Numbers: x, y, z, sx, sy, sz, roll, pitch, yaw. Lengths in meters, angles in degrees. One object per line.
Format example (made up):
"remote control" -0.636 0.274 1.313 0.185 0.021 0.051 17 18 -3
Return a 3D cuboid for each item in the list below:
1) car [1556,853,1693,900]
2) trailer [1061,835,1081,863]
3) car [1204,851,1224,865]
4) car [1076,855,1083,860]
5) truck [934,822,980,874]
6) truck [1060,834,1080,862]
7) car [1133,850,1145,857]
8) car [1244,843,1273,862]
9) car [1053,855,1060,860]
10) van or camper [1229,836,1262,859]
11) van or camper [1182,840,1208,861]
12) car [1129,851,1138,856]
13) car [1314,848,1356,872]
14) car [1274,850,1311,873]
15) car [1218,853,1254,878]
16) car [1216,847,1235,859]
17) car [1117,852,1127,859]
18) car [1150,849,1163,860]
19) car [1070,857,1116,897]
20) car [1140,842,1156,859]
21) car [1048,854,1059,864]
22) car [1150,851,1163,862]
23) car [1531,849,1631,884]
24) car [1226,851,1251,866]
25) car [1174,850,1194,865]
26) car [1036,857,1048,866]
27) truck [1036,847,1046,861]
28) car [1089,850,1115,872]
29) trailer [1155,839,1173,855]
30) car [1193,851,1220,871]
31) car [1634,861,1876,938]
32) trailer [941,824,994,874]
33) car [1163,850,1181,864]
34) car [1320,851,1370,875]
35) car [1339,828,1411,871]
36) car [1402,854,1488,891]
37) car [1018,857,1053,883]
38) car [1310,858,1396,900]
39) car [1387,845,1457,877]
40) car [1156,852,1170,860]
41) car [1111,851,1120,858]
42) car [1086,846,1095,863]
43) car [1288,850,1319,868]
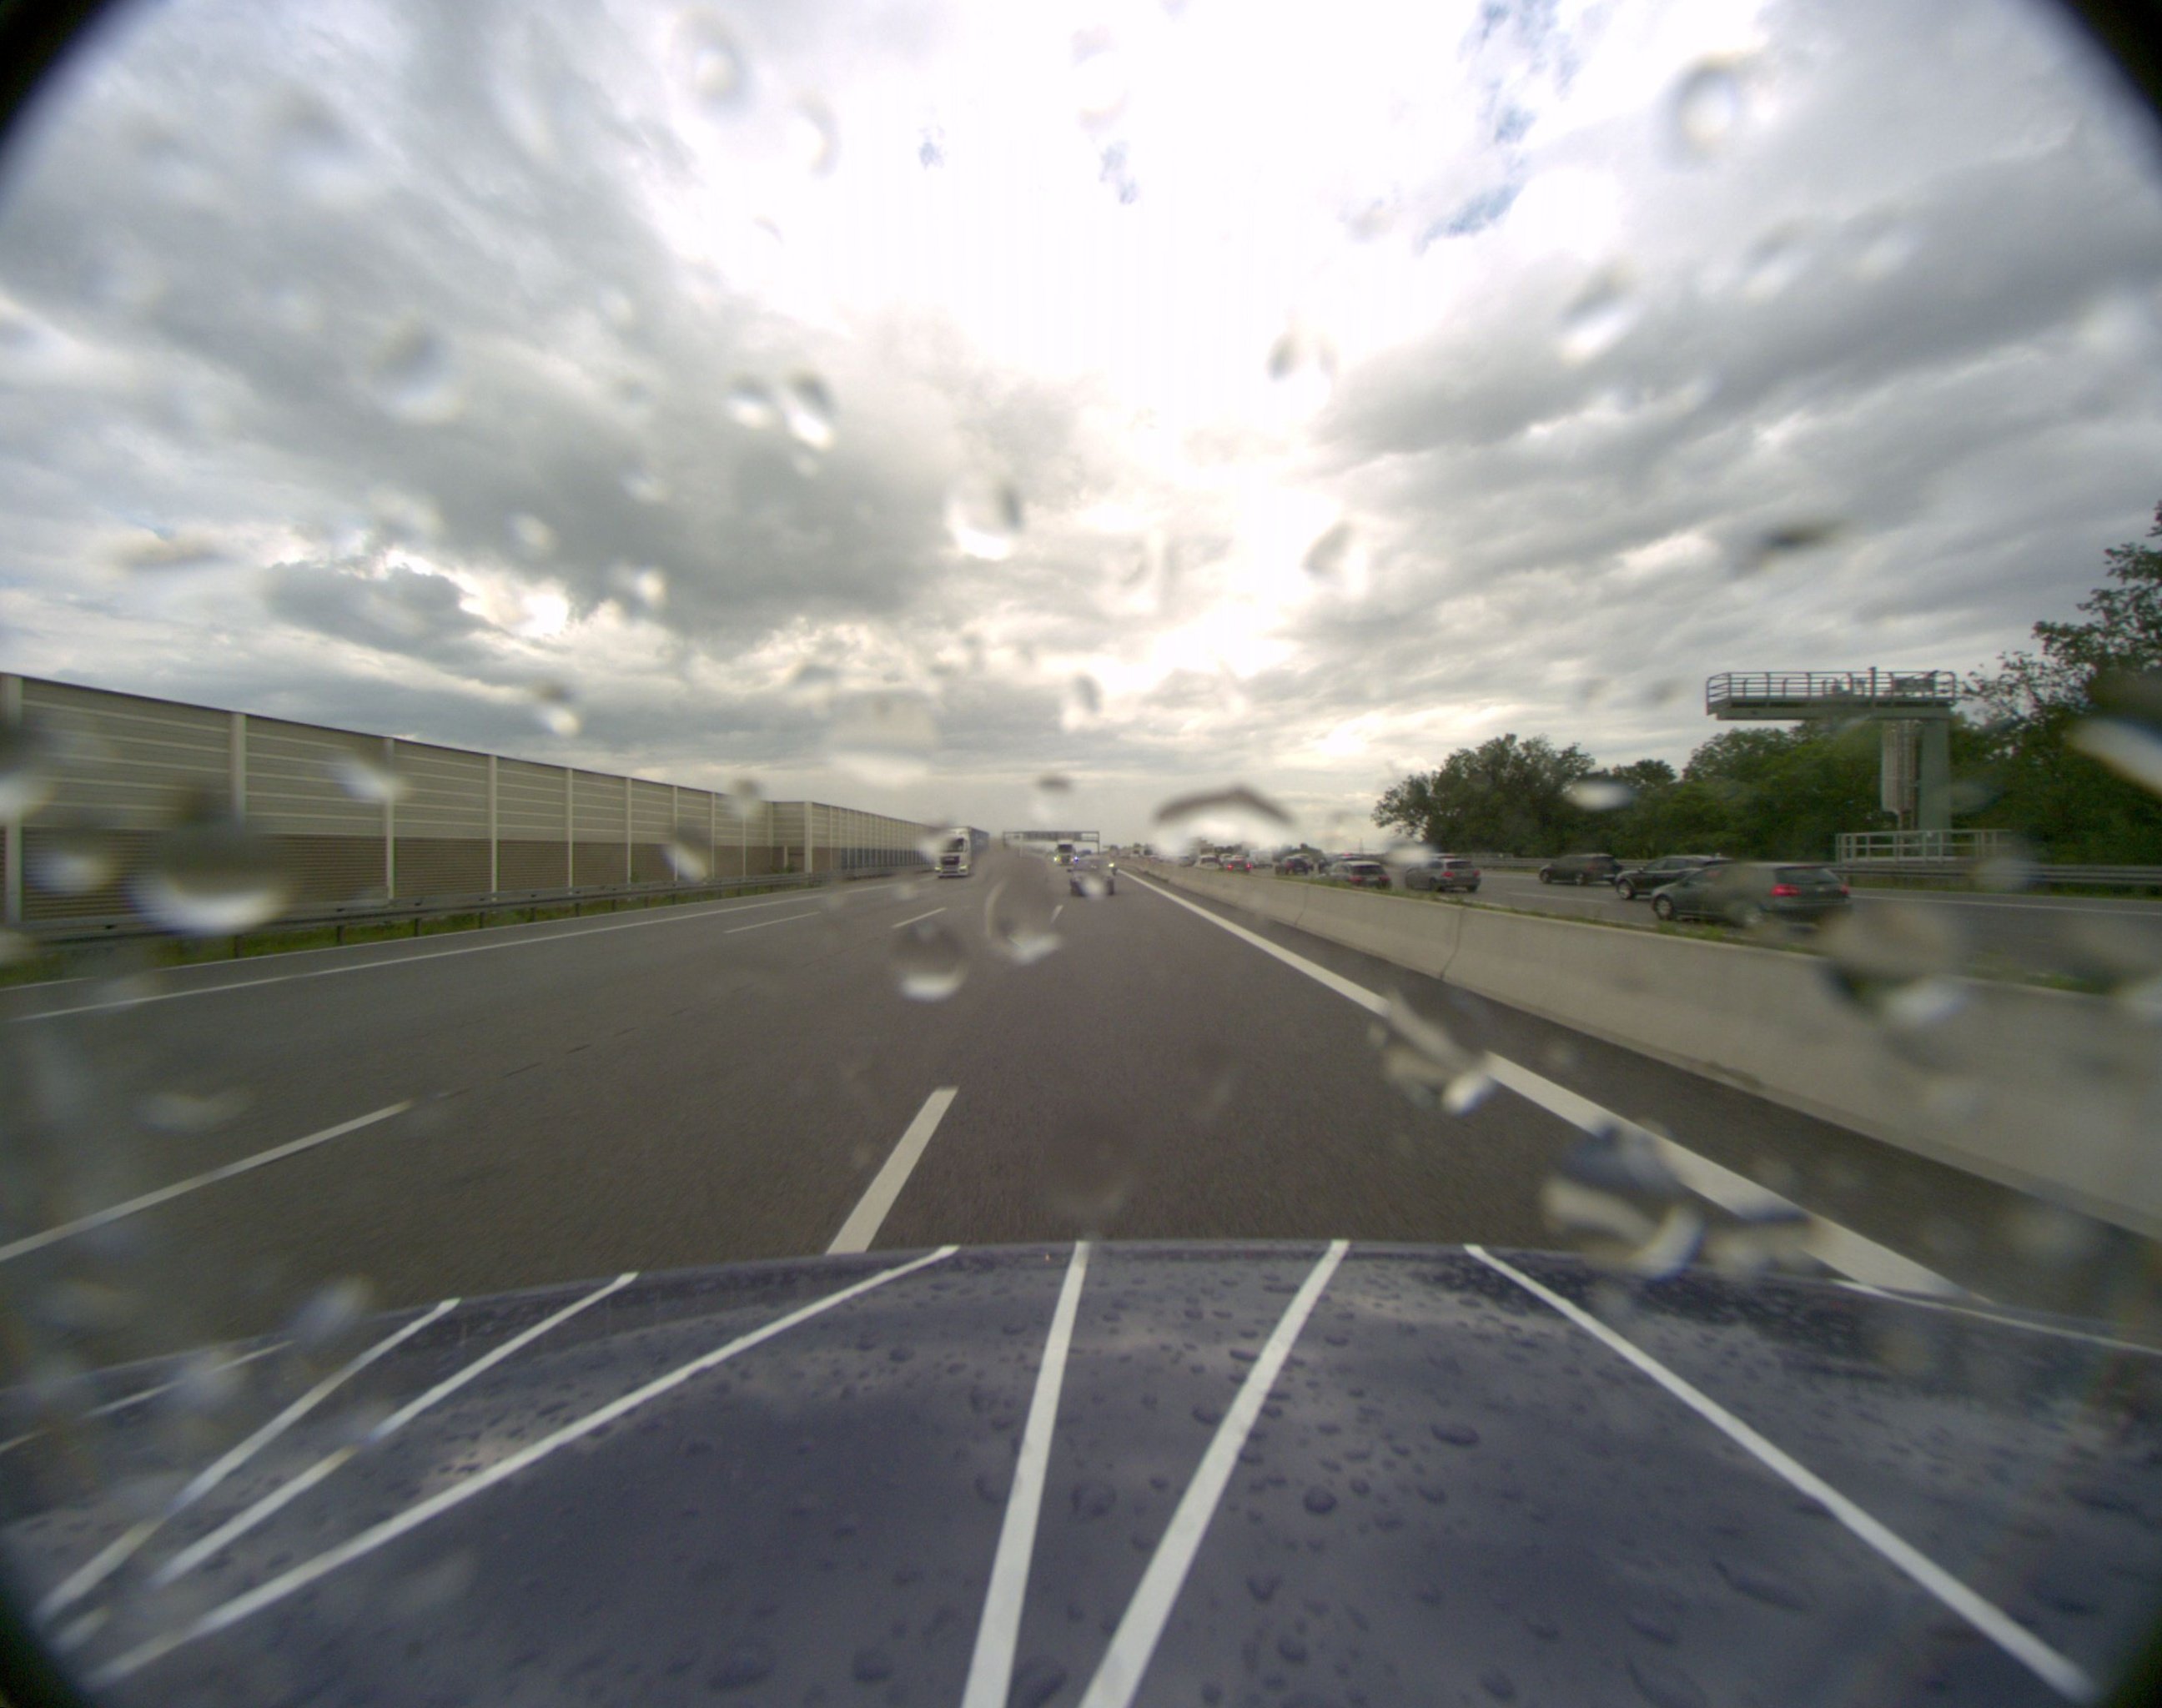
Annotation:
"car" 19.238 0.730 27.189 1.727 1.420 4.519 -3 1 1
"trailer" -1.669 -0.809 123.909 2.926 4.187 13.195 -3 0 -1
"car" 16.471 0.468 94.313 1.727 1.636 4.519 -3 1 1
"car" -0.363 0.911 209.876 1.698 1.395 4.000 -2 0 -1
"truck" -10.009 -0.442 61.986 2.752 4.011 5.725 -2 0 -1
"truck" -1.652 -0.846 118.418 2.913 4.146 5.192 -3 0 0
"car" 12.192 -0.088 159.533 2.065 1.526 5.469 -1 0 -1
"car" 19.453 -0.195 83.435 1.692 1.925 5.547 -3 1 -1
"car" -6.574 1.025 205.683 1.698 1.395 4.000 -2 0 -1
"van or camper" 23.349 -0.954 108.333 2.632 3.104 8.475 -3 1 0
"van or camper" 16.878 -0.532 112.682 2.632 2.934 7.357 -3 1 0
"car" 14.765 -0.161 214.062 2.065 1.526 5.469 -1 0 -1
"car" 19.205 0.410 57.717 1.727 1.636 4.519 -3 1 1
"car" 16.651 0.560 60.048 1.727 1.636 4.519 -3 1 1
"car" 11.353 0.802 55.989 1.727 1.636 4.992 -3 1 1
"car" 19.714 -0.187 103.609 1.727 1.448 5.018 -3 1 1
"car" 9.931 0.376 182.834 2.065 1.636 5.379 -1 0 -1
"car" 15.833 0.073 160.022 2.065 2.223 5.893 -1 0 -1
"car" 0.501 0.819 28.938 1.578 1.395 4.001 -2 0 2
"car" 12.228 -0.571 139.496 2.236 2.733 9.165 -1 -1 0
"car" -6.106 1.058 167.581 1.998 2.002 4.000 -3 0 2
"car" 11.947 0.361 120.294 1.727 1.636 4.519 -3 1 1
"car" 23.185 0.549 35.473 1.727 1.420 4.519 -3 1 1
"car" 16.459 0.433 79.492 1.727 1.407 4.519 -3 1 1
"car" 11.876 0.382 88.036 1.727 1.636 5.062 -3 1 1
"car" -6.316 1.206 123.114 1.698 1.395 4.000 -2 0 -1
"truck" -11.369 0.018 218.679 2.600 4.087 11.369 -2 0 -3
"car" 1.482 0.479 54.858 1.776 1.451 4.480 -2 0 1
"trailer" 22.547 -1.739 206.361 2.939 4.008 14.451 -2 0 -1
"car" 11.327 0.628 68.945 1.727 1.636 4.997 -3 1 1
"car" 15.540 0.963 17.916 1.727 1.420 4.519 -3 1 1
"trailer" -10.124 -0.401 69.313 2.768 4.008 14.451 -2 0 -1
"car" 11.776 0.412 98.721 1.727 1.636 5.062 -3 1 1
"car" 16.524 0.540 47.750 1.727 1.410 4.201 -1 1 1
"car" 24.118 -0.407 62.705 2.735 3.221 7.937 -3 1 0
"car" 16.041 0.755 33.743 1.727 1.420 4.519 -3 1 1
"car" -2.577 0.878 43.782 1.732 1.395 4.000 -2 0 0
"car" 11.058 0.970 31.274 1.727 1.420 5.230 -3 1 1
"car" 19.451 0.360 43.669 1.727 1.636 5.236 -3 1 1
"car" 15.813 0.309 147.072 2.065 1.526 4.518 -1 0 -1
"car" 10.167 0.174 224.838 2.065 1.869 6.327 -1 0 -1
"car" 1.756 0.065 144.956 1.645 3.041 4.589 -2 0 0
"car" 20.088 0.418 68.758 1.727 1.470 3.960 -3 1 1
